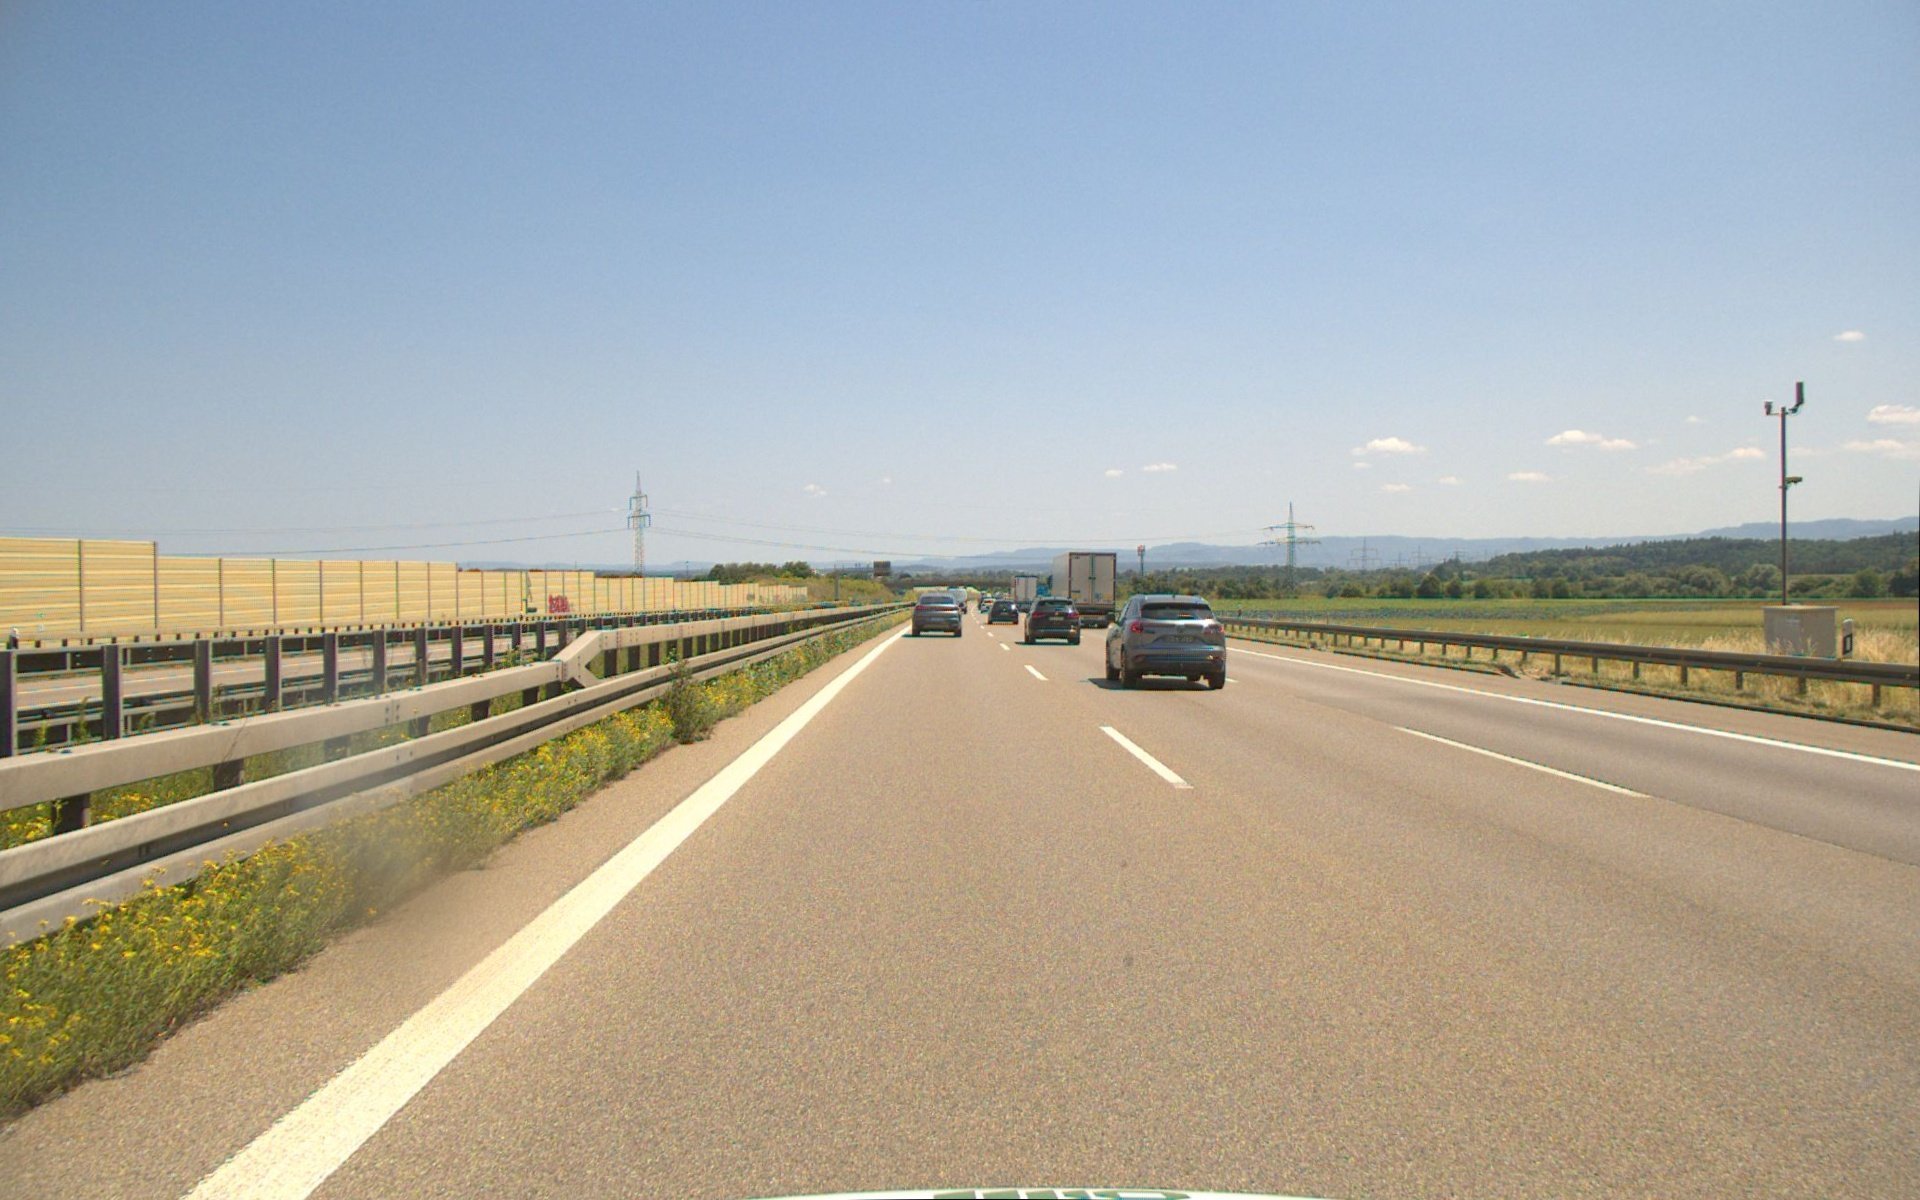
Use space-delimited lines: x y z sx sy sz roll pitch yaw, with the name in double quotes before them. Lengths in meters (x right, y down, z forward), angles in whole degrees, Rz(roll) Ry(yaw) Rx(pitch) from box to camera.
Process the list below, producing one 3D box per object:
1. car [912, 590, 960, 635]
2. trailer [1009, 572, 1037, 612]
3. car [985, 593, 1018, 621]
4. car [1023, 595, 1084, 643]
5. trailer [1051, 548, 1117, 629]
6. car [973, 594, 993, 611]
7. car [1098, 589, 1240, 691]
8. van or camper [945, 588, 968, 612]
"car" -0.984 0.478 65.275 1.814 1.693 3.733 1 0 -2
"trailer" 7.116 -0.850 187.185 2.882 4.271 13.598 1 0 1
"car" 2.481 0.438 99.760 1.893 1.602 4.934 1 0 1
"car" 3.201 0.640 57.238 1.760 1.589 3.822 1 0 -2
"trailer" 6.951 -0.585 94.372 2.809 4.294 13.294 1 0 1
"car" 2.337 0.256 167.382 1.952 1.712 4.000 1 0 1
"car" 3.711 0.692 30.116 1.814 1.677 4.643 1 0 -2
"van or camper" -0.354 -0.024 159.129 2.067 2.250 5.266 1 0 1
